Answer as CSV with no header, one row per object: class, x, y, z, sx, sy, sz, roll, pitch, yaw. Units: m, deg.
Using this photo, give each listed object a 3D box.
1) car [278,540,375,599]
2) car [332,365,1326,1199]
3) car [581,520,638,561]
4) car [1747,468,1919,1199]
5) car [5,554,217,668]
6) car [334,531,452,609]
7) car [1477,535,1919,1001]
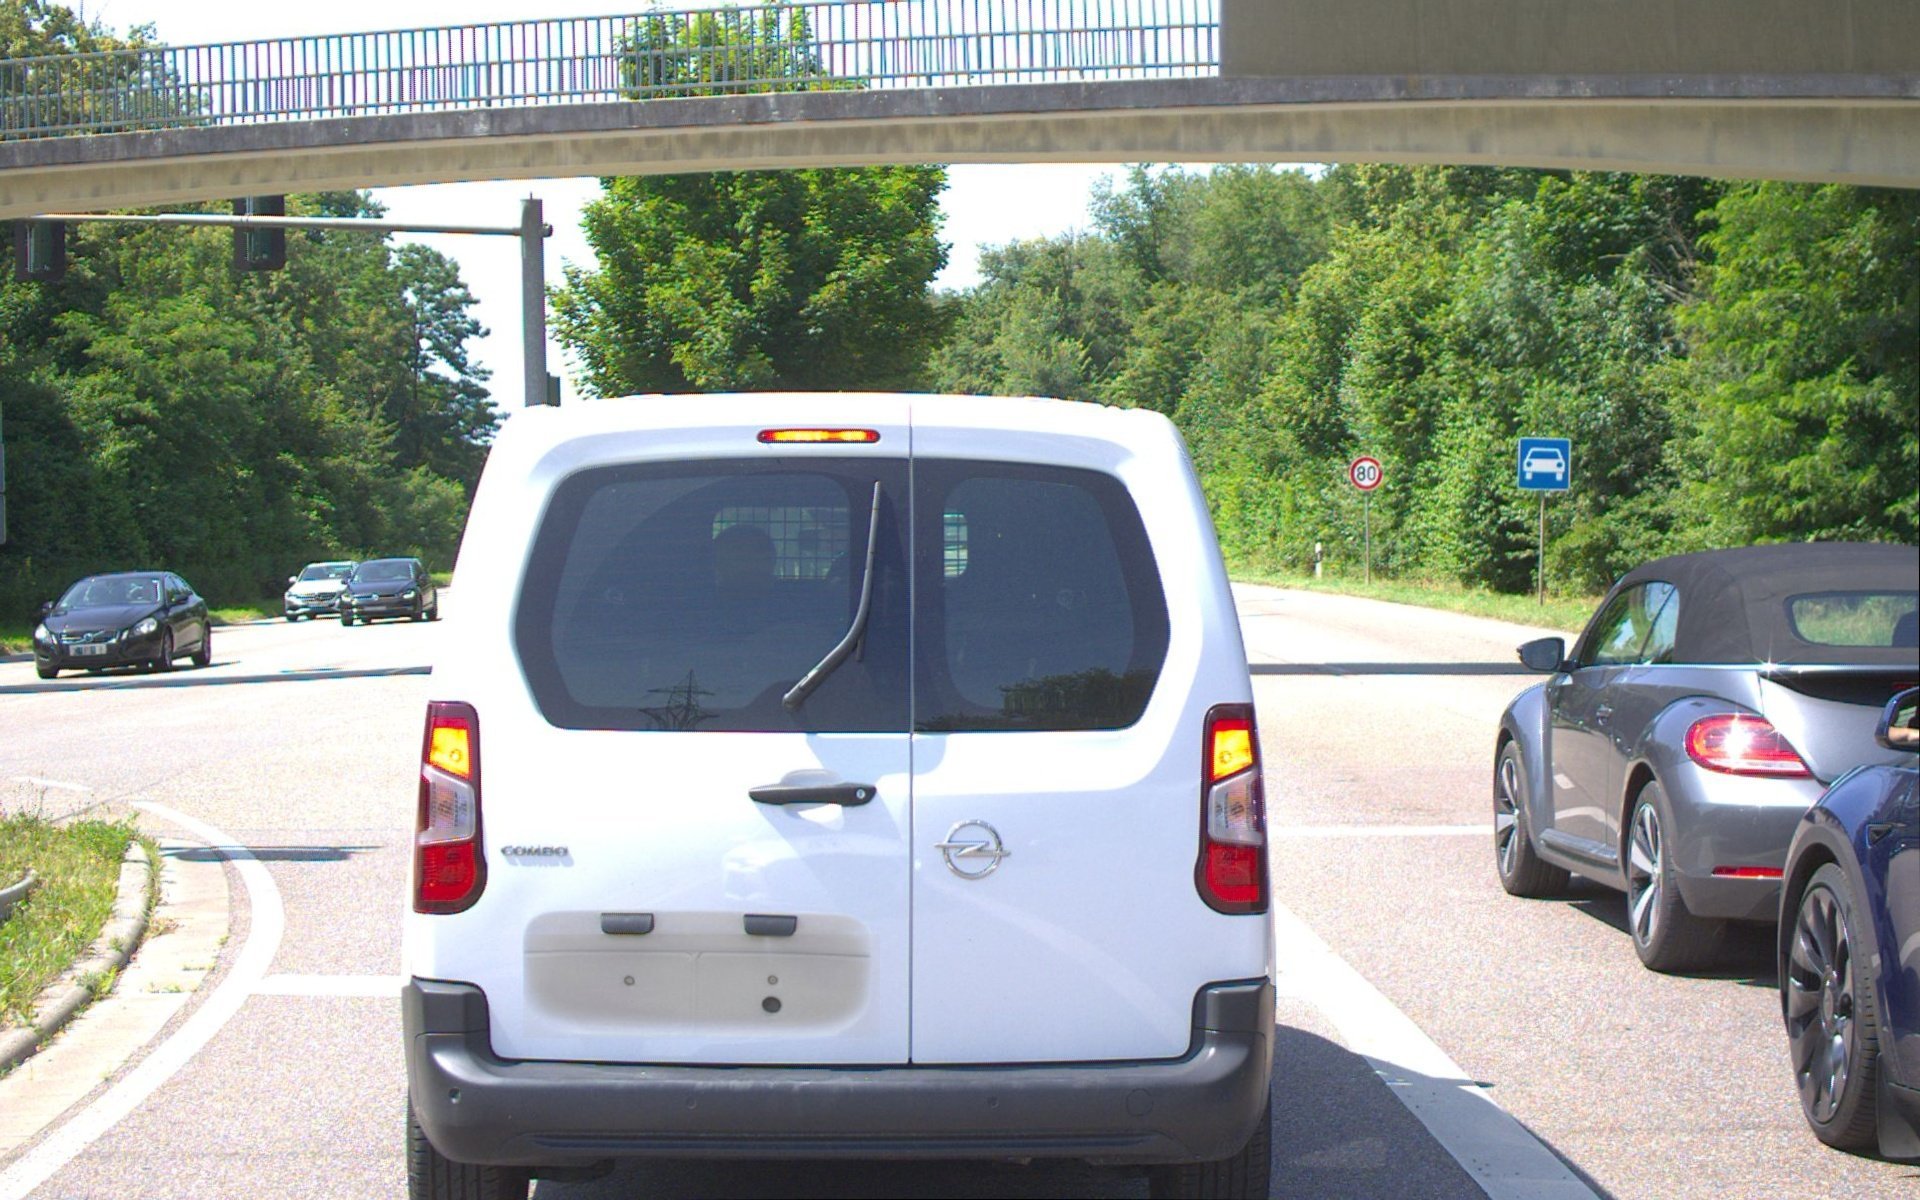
car,-16.184,-0.791,87.926,1.752,1.402,4.000,-1,1,-1
car,-0.299,0.416,8.448,1.849,1.819,3.982,1,2,-2
car,-14.845,-2.536,145.797,1.993,1.659,4.000,-1,1,-1
car,3.058,0.557,6.786,1.900,1.639,4.520,1,1,-1
car,-12.035,0.121,49.000,2.008,1.455,4.055,-2,1,-1
car,-12.766,-0.693,77.579,1.993,1.659,4.000,-1,1,-1
car,3.233,0.509,12.989,1.900,1.472,3.939,1,1,-1
